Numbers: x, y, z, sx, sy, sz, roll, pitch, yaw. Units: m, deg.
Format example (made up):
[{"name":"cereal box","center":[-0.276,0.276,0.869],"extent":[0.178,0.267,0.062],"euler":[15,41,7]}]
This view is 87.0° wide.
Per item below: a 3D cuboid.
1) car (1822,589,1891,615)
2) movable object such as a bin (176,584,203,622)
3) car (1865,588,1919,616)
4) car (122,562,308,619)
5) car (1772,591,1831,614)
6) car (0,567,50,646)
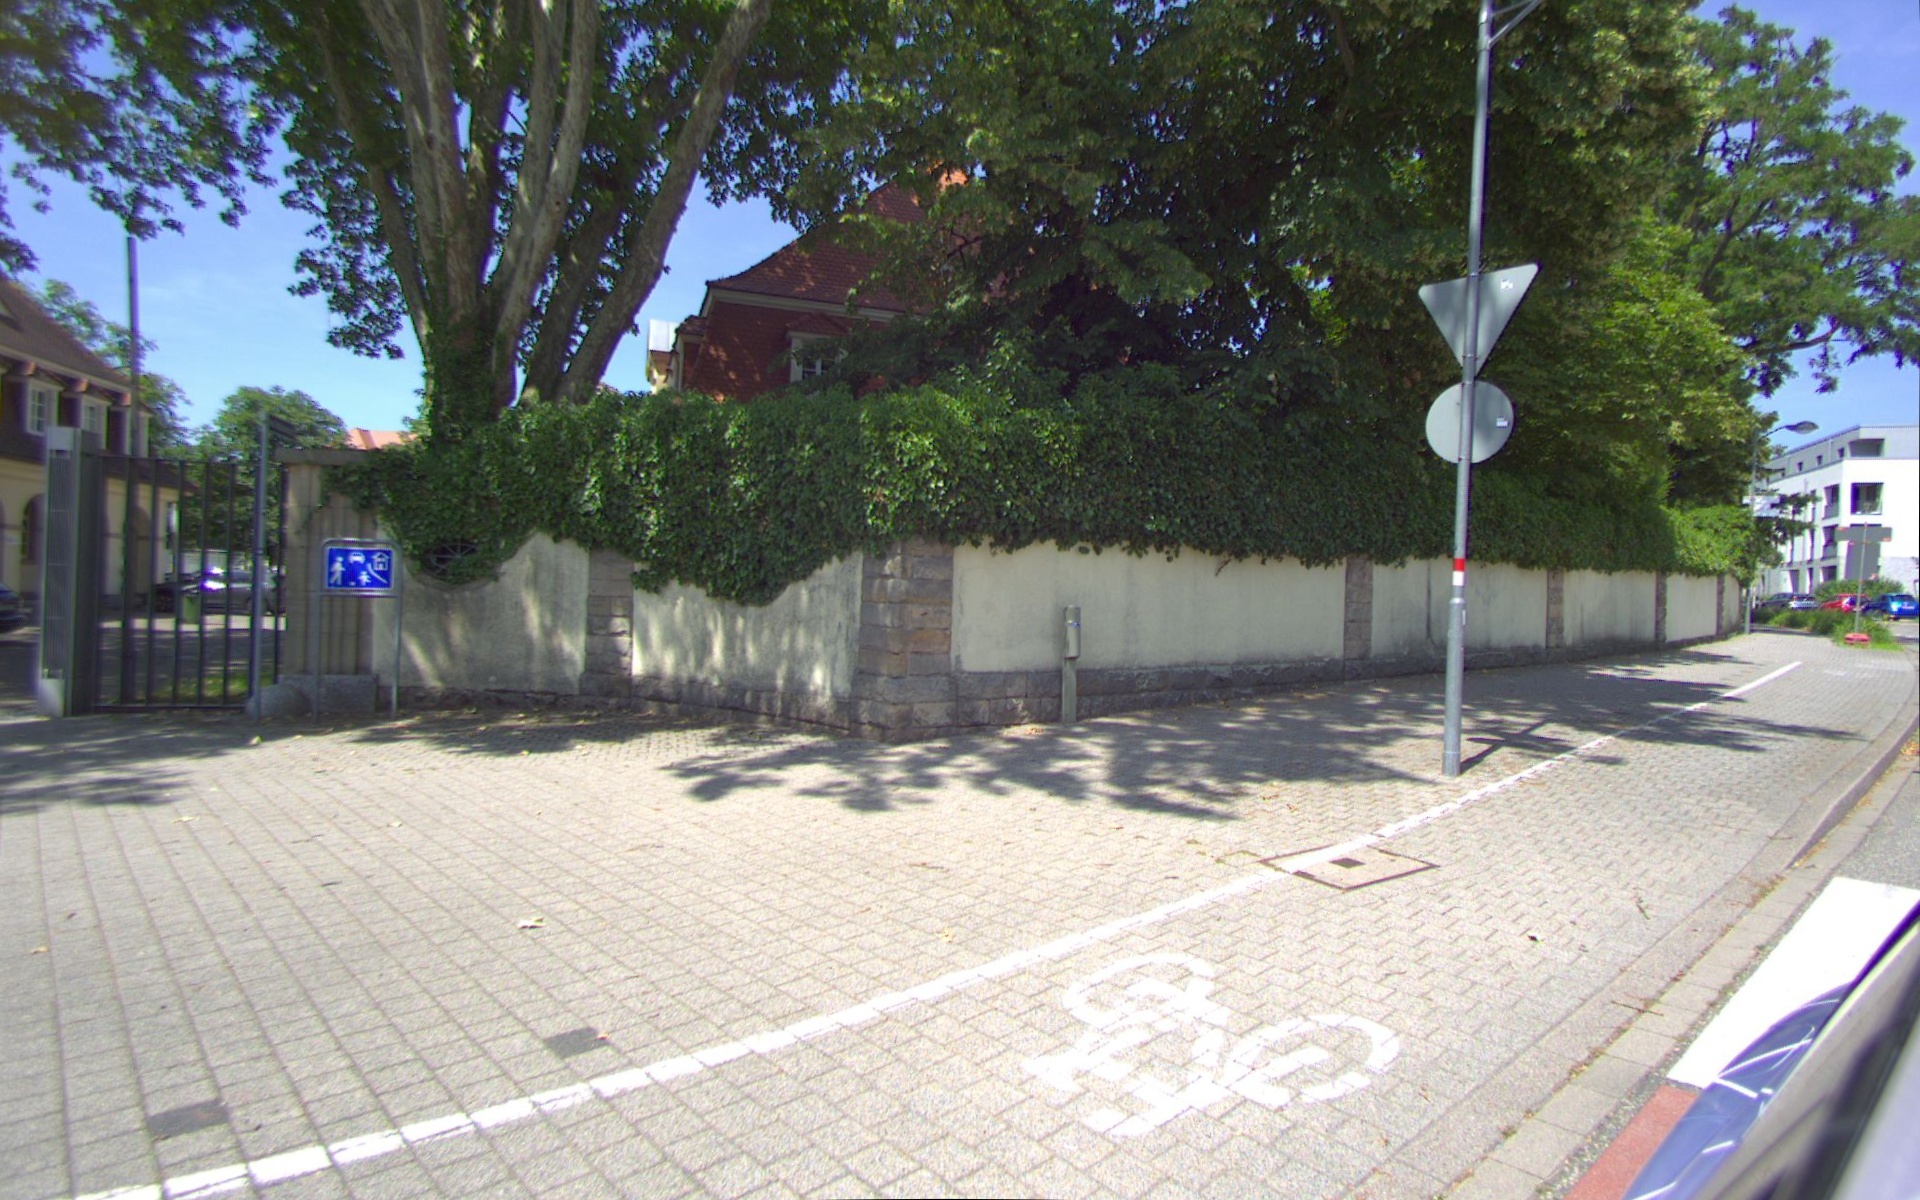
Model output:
[{"name":"car","center":[52.651,0.078,59.530],"extent":[1.685,1.431,3.699],"euler":[0,1,19]},{"name":"movable object such as a bin","center":[-21.095,0.087,27.716],"extent":[0.525,1.021,0.530],"euler":[1,1,44]},{"name":"car","center":[50.695,0.100,54.399],"extent":[1.685,1.431,3.699],"euler":[0,1,19]},{"name":"car","center":[-24.319,-0.316,33.226],"extent":[4.407,1.420,2.004],"euler":[5,0,-14]},{"name":"car","center":[54.607,0.127,65.765],"extent":[1.685,1.431,3.699],"euler":[0,1,19]},{"name":"car","center":[-20.192,-0.043,18.774],"extent":[4.407,1.420,2.004],"euler":[5,0,-14]}]
